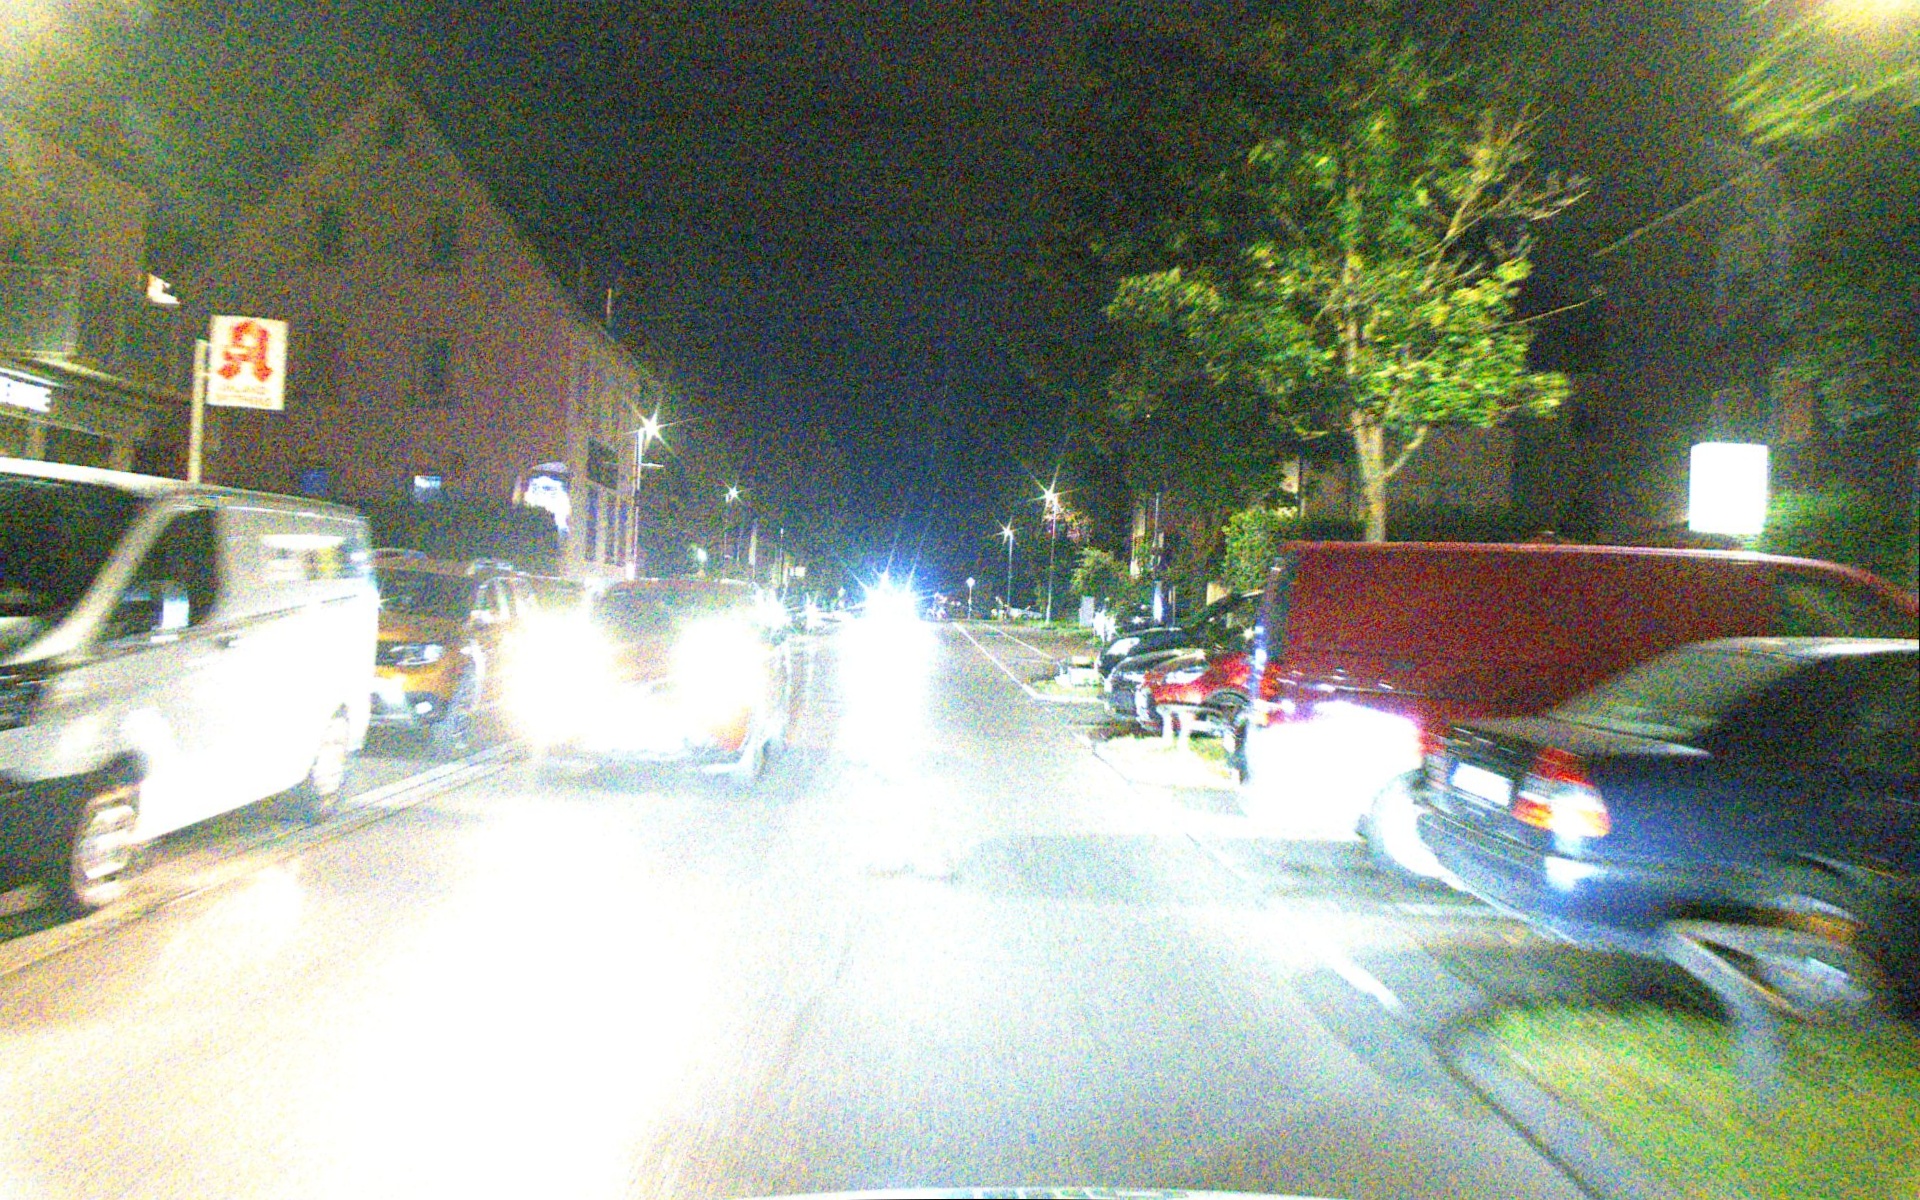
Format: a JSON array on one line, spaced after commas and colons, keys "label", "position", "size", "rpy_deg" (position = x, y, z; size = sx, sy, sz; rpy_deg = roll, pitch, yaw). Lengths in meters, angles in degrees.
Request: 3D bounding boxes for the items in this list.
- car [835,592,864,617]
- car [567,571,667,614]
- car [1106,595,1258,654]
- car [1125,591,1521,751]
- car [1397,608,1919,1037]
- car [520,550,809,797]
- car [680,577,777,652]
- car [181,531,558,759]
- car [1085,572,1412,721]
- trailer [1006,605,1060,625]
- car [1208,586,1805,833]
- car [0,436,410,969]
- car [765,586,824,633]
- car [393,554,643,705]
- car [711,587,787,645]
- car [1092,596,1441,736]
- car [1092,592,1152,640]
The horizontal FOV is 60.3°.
[{"label": "car", "position": [-7.796, 0.319, 117.038], "size": [1.638, 1.618, 3.987], "rpy_deg": [3, 0, 0]}, {"label": "car", "position": [-14.142, -0.320, 68.428], "size": [3.913, 1.732, 1.944], "rpy_deg": [0, 0, -9]}, {"label": "car", "position": [5.960, 0.658, 44.720], "size": [3.825, 1.512, 1.832], "rpy_deg": [1, 0, -2]}, {"label": "car", "position": [3.843, 0.747, 17.966], "size": [3.837, 1.540, 1.854], "rpy_deg": [2, -1, -2]}, {"label": "car", "position": [4.204, 0.827, 6.758], "size": [4.308, 1.444, 1.935], "rpy_deg": [2, 0, 0]}, {"label": "car", "position": [-2.324, 0.527, 13.983], "size": [1.684, 1.745, 3.961], "rpy_deg": [2, 0, 0]}, {"label": "car", "position": [-5.746, 0.341, 41.584], "size": [1.890, 1.665, 4.469], "rpy_deg": [4, 0, -2]}, {"label": "car", "position": [-5.202, 0.347, 15.263], "size": [2.074, 1.699, 4.167], "rpy_deg": [3, 0, -3]}, {"label": "car", "position": [3.901, 0.613, 23.041], "size": [4.263, 1.848, 2.032], "rpy_deg": [2, 0, 4]}, {"label": "trailer", "position": [4.800, 0.987, 109.632], "size": [3.364, 1.019, 1.953], "rpy_deg": [6, 0, -2]}, {"label": "car", "position": [3.908, 0.745, 12.409], "size": [3.834, 1.578, 1.988], "rpy_deg": [2, 0, 3]}, {"label": "car", "position": [-4.655, 0.281, 8.542], "size": [2.074, 1.980, 4.885], "rpy_deg": [5, 0, -3]}, {"label": "car", "position": [-5.717, 0.314, 57.421], "size": [1.714, 1.494, 4.007], "rpy_deg": [3, 0, -2]}, {"label": "car", "position": [-5.384, 0.317, 20.792], "size": [2.074, 1.575, 4.474], "rpy_deg": [3, 0, -3]}, {"label": "car", "position": [-5.957, 0.419, 47.144], "size": [1.735, 1.494, 3.964], "rpy_deg": [3, 0, -2]}, {"label": "car", "position": [3.678, 0.773, 20.275], "size": [3.839, 1.540, 1.853], "rpy_deg": [2, 0, -5]}, {"label": "car", "position": [5.722, 0.552, 58.907], "size": [1.606, 1.587, 3.677], "rpy_deg": [2, 0, -2]}]
